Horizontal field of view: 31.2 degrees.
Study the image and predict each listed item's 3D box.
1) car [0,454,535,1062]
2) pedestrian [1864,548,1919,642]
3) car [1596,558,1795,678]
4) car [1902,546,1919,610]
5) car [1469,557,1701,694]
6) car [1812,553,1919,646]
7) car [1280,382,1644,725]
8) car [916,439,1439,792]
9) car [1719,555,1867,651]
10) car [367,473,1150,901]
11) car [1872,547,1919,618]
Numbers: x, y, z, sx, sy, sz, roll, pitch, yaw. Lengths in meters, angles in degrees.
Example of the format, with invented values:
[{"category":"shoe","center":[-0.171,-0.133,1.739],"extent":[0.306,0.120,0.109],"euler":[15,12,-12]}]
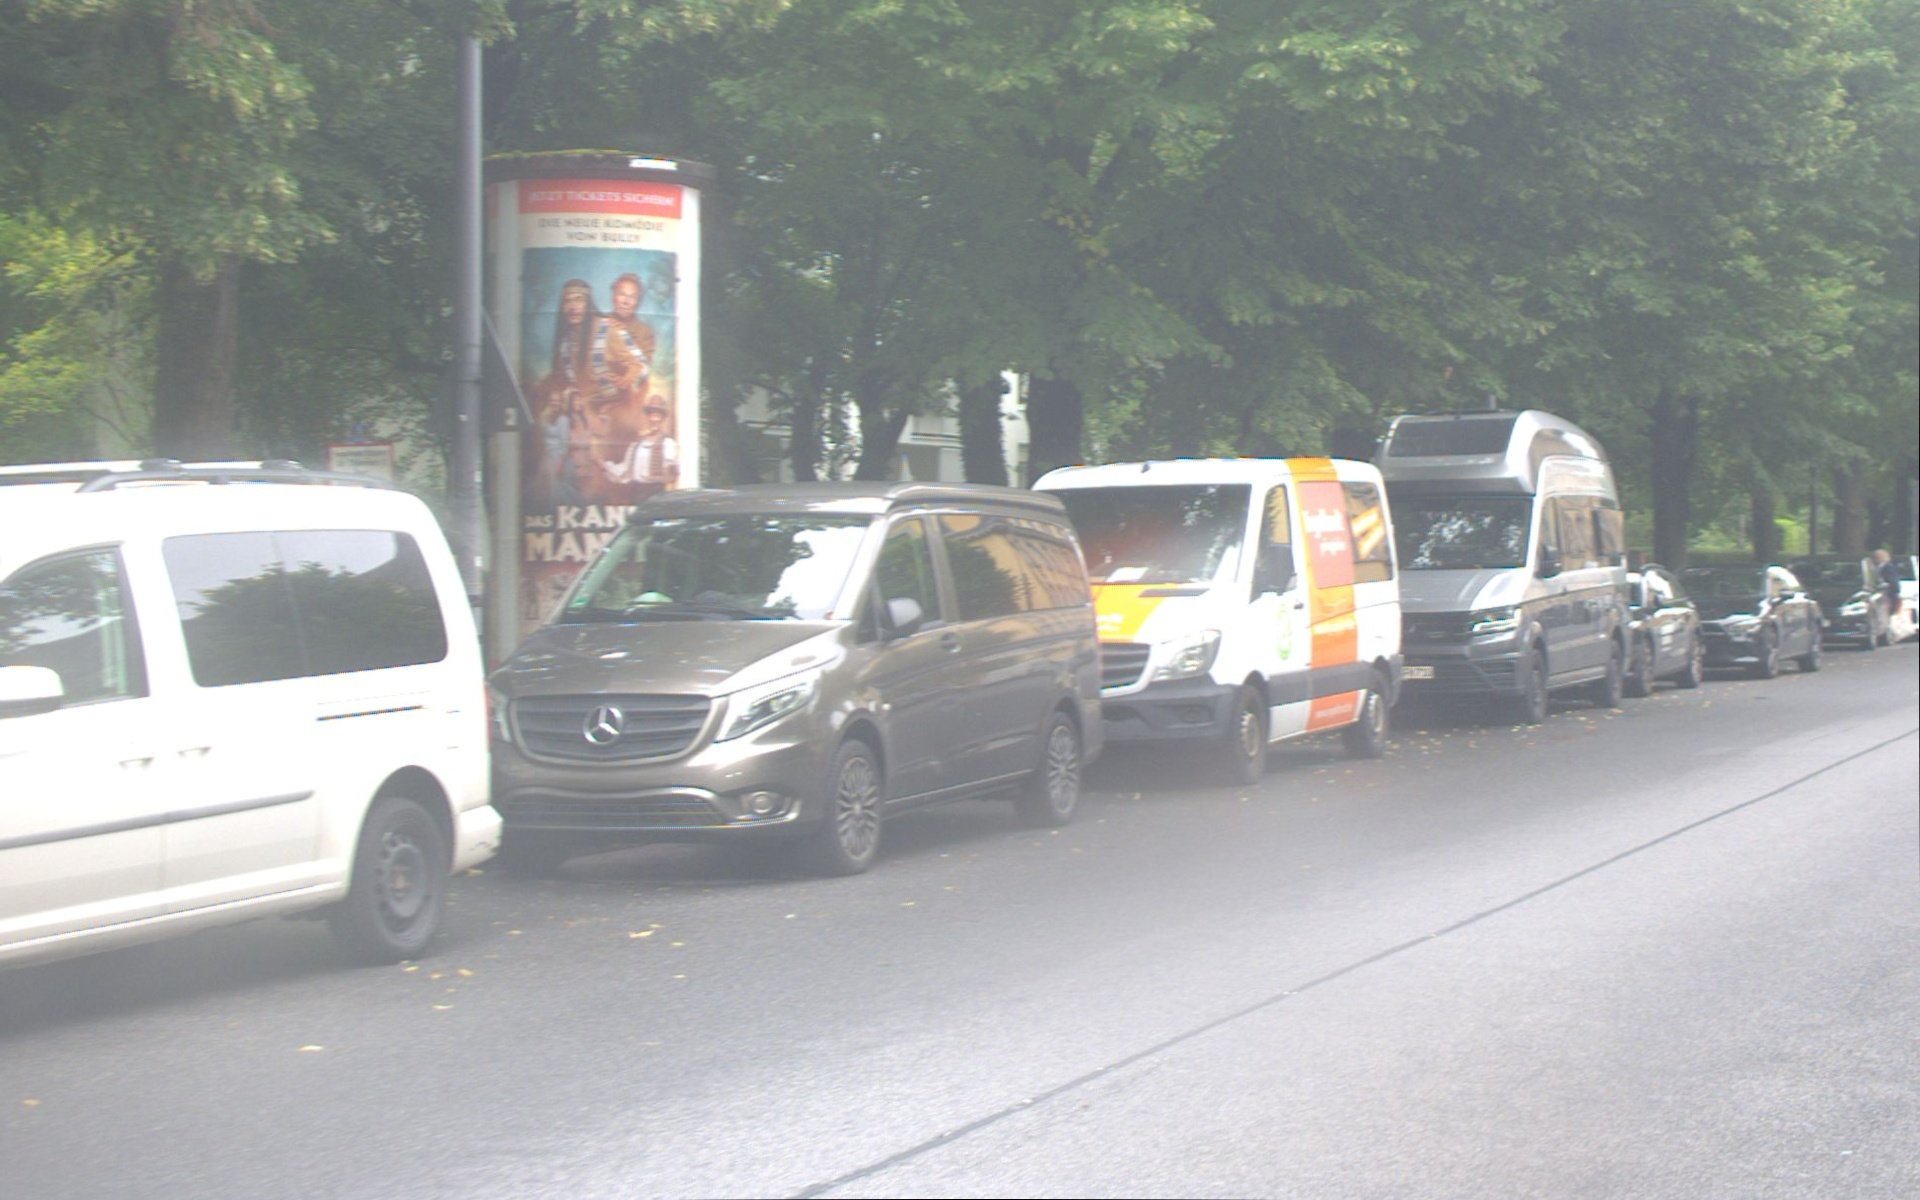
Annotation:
[{"category":"car","center":[-3.603,0.472,11.962],"extent":[2.086,1.897,4.853],"euler":[0,1,23]},{"category":"pedestrian","center":[15.926,-0.095,58.797],"extent":[0.884,1.592,0.823],"euler":[0,1,14]},{"category":"car","center":[9.382,0.187,43.630],"extent":[1.995,1.415,4.126],"euler":[1,1,19]},{"category":"car","center":[22.335,-0.508,77.255],"extent":[1.995,1.415,3.996],"euler":[1,1,19]},{"category":"car","center":[7.068,0.242,38.579],"extent":[1.995,1.415,3.996],"euler":[1,1,19]},{"category":"car","center":[16.661,-0.038,62.357],"extent":[1.995,1.614,4.126],"euler":[1,1,19]},{"category":"car","center":[4.992,-0.458,33.270],"extent":[2.175,2.992,6.227],"euler":[0,1,21]},{"category":"car","center":[1.750,0.080,25.010],"extent":[2.086,2.257,5.596],"euler":[-1,0,22]},{"category":"car","center":[13.716,0.019,56.471],"extent":[1.995,1.481,4.126],"euler":[1,1,19]},{"category":"car","center":[-0.808,0.362,18.272],"extent":[2.028,1.901,5.661],"euler":[-1,0,20]},{"category":"car","center":[20.188,-0.382,71.654],"extent":[1.995,1.415,3.996],"euler":[1,1,19]}]
